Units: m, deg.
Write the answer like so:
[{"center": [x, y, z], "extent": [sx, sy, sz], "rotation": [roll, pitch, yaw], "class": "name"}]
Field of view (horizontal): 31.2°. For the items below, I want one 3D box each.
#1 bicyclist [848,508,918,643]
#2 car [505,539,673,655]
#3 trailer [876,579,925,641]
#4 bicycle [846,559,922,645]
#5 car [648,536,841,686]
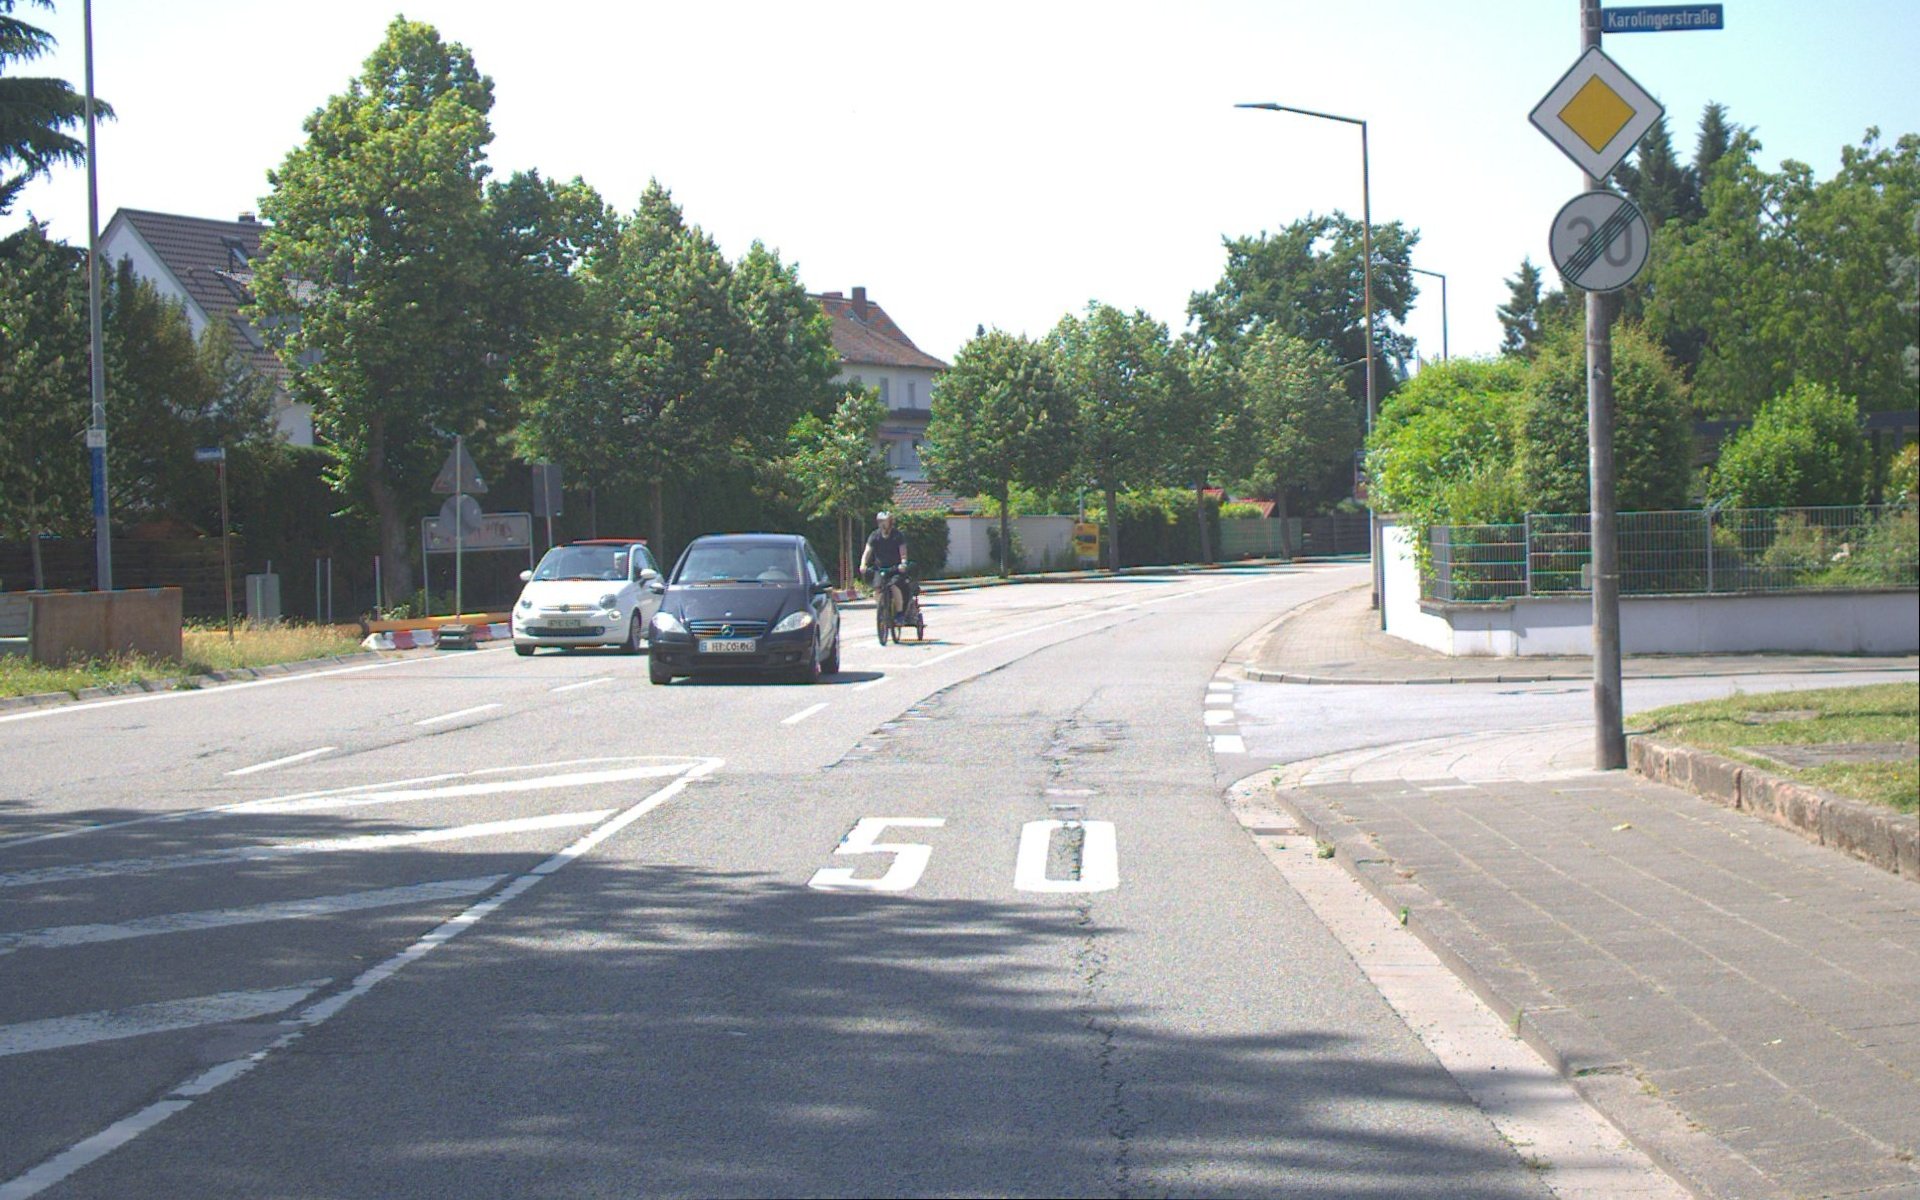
[{"center": [-1.071, -0.345, 48.108], "extent": [0.846, 1.859, 0.976], "rotation": [-1, 1, 5], "class": "bicyclist"}, {"center": [-4.977, -0.072, 46.510], "extent": [1.699, 1.505, 3.458], "rotation": [0, 1, 4], "class": "car"}, {"center": [-0.859, 0.136, 49.708], "extent": [0.570, 0.853, 1.132], "rotation": [-2, 1, 5], "class": "trailer"}, {"center": [-1.057, 0.019, 48.155], "extent": [0.850, 1.162, 1.977], "rotation": [-1, 1, 5], "class": "bicycle"}, {"center": [-2.274, 0.076, 37.070], "extent": [1.725, 1.527, 3.830], "rotation": [0, 1, 2], "class": "car"}]
